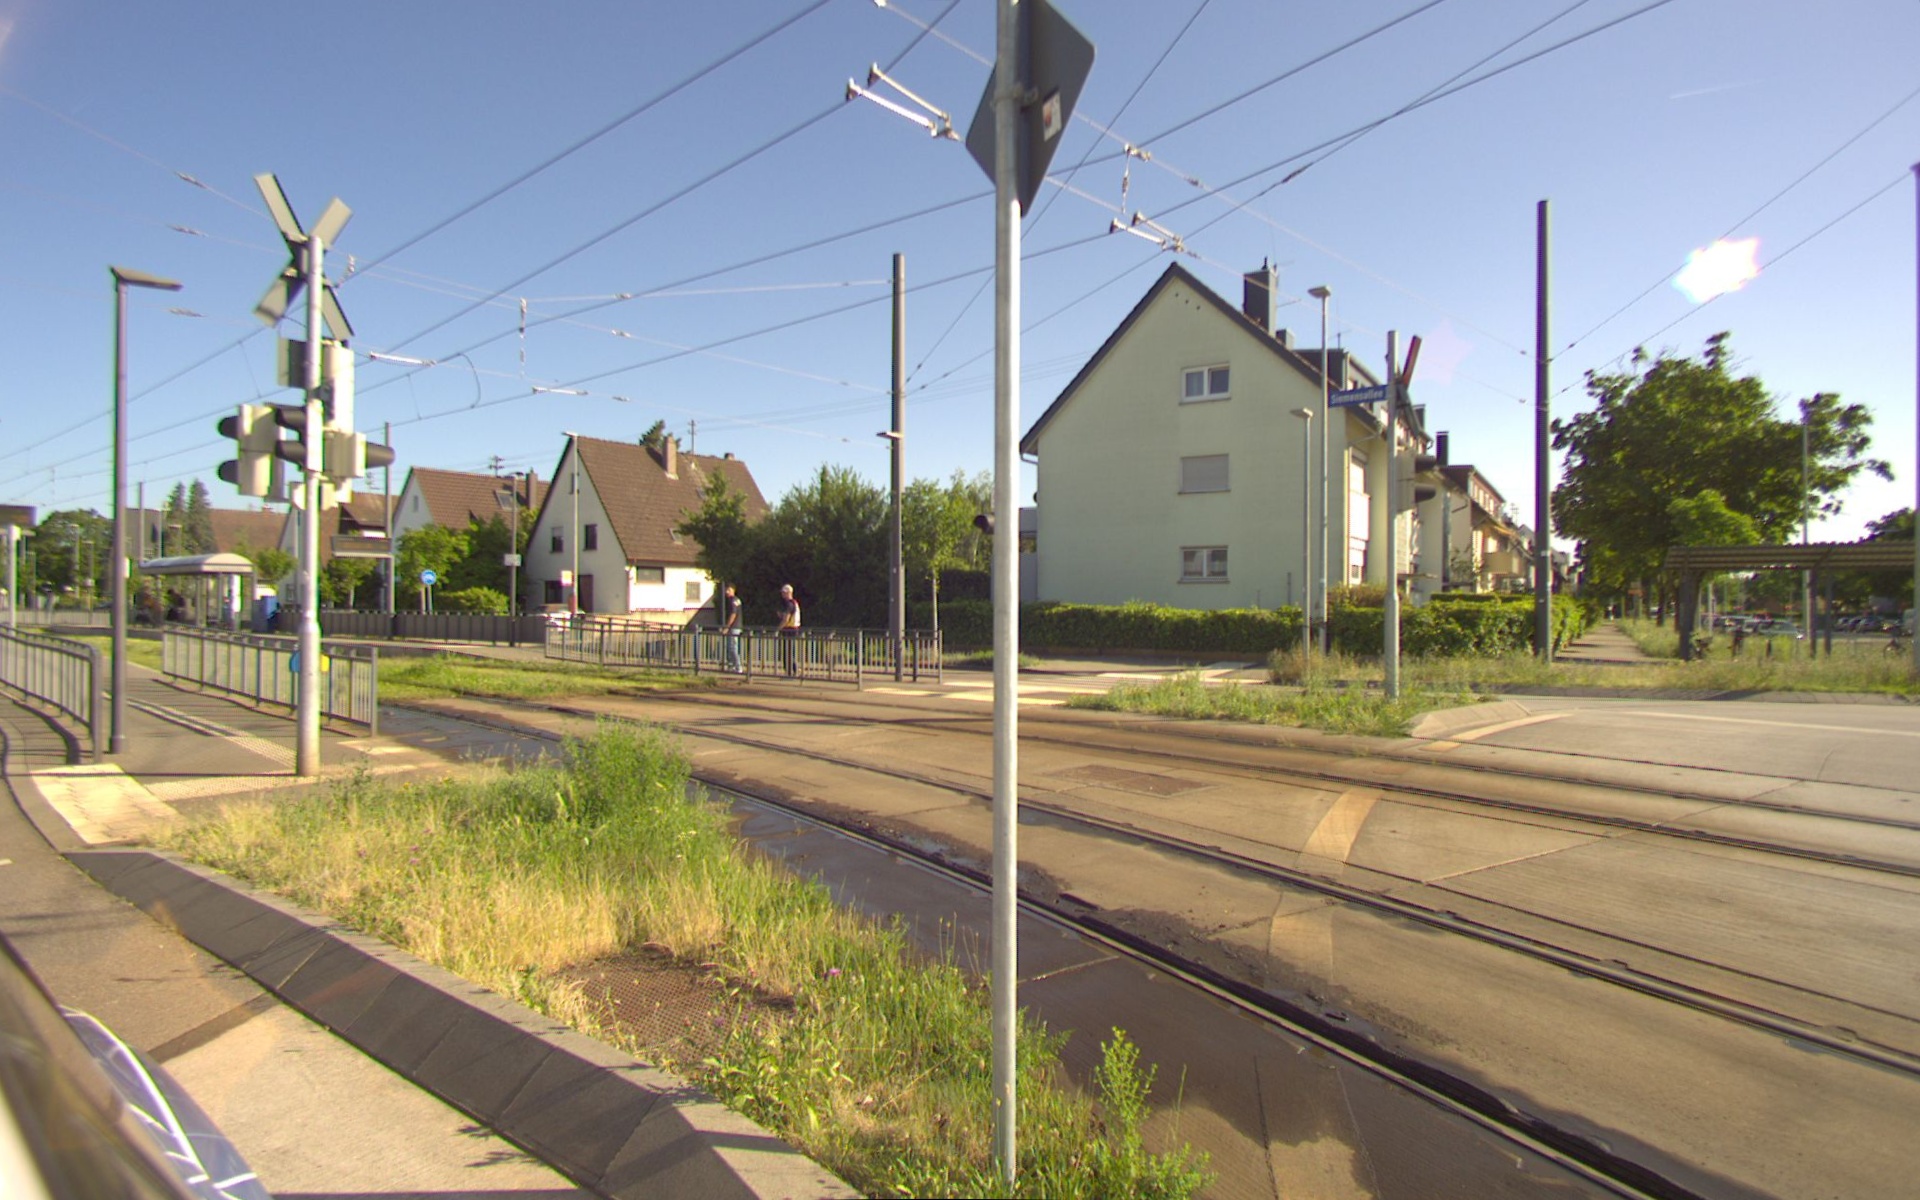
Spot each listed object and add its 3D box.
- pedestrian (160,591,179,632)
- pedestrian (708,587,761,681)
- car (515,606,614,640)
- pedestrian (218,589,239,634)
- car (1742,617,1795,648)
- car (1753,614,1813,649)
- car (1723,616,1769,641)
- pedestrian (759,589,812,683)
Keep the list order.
[{"bbox_3d":[-34.783,0.516,44.515,0.542,1.766,0.528,-1,-1,39],"label":"pedestrian"},{"bbox_3d":[-4.454,0.651,20.020,0.817,1.783,0.687,1,2,14],"label":"pedestrian"},{"bbox_3d":[-18.704,1.079,47.938,1.996,1.546,3.943,0,-1,36],"label":"car"},{"bbox_3d":[-29.046,0.446,40.199,0.612,1.766,0.443,1,-1,-32],"label":"pedestrian"},{"bbox_3d":[42.101,1.670,52.762,1.822,1.403,3.824,0,1,34],"label":"car"},{"bbox_3d":[38.453,1.444,47.377,1.822,1.403,3.747,0,1,34],"label":"car"},{"bbox_3d":[45.496,1.639,58.649,1.822,1.403,3.824,0,-1,34],"label":"car"},{"bbox_3d":[-3.232,0.646,18.779,0.720,1.673,0.793,1,2,14],"label":"pedestrian"}]
